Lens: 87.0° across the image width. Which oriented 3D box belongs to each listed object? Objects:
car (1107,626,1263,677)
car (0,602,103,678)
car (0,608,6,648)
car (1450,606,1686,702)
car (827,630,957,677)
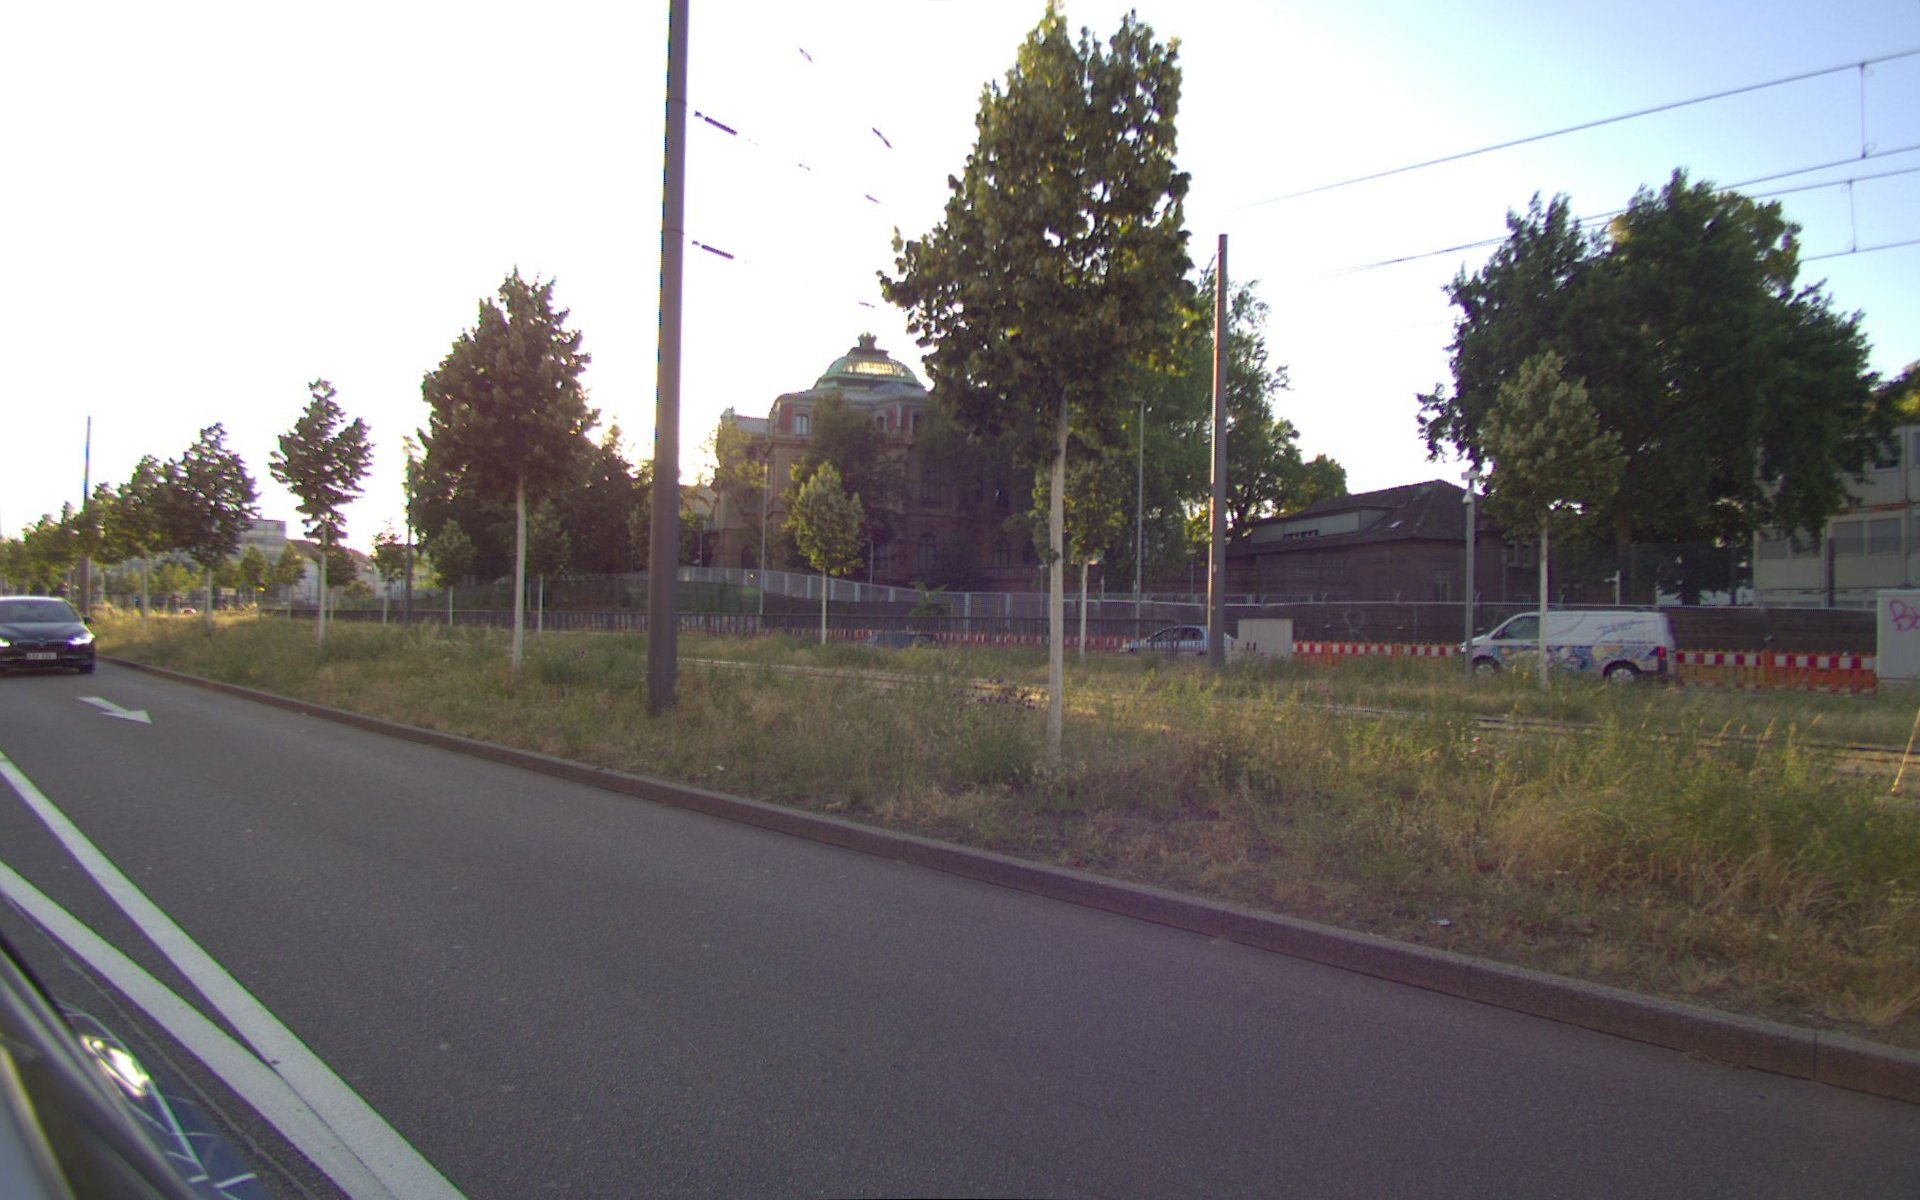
[{"bbox_3d":[7.176,1.615,32.598,4.521,1.492,1.972,-2,-2,42],"label":"car"},{"bbox_3d":[-19.518,0.814,21.171,4.842,1.444,1.834,-2,-2,43],"label":"car"},{"bbox_3d":[-36.276,1.051,36.923,4.843,1.444,1.834,-2,-2,43],"label":"car"},{"bbox_3d":[15.237,1.294,25.540,4.751,2.184,1.971,-2,-2,43],"label":"car"},{"bbox_3d":[-2.432,1.819,35.362,4.522,1.492,1.972,-2,-2,43],"label":"car"}]
